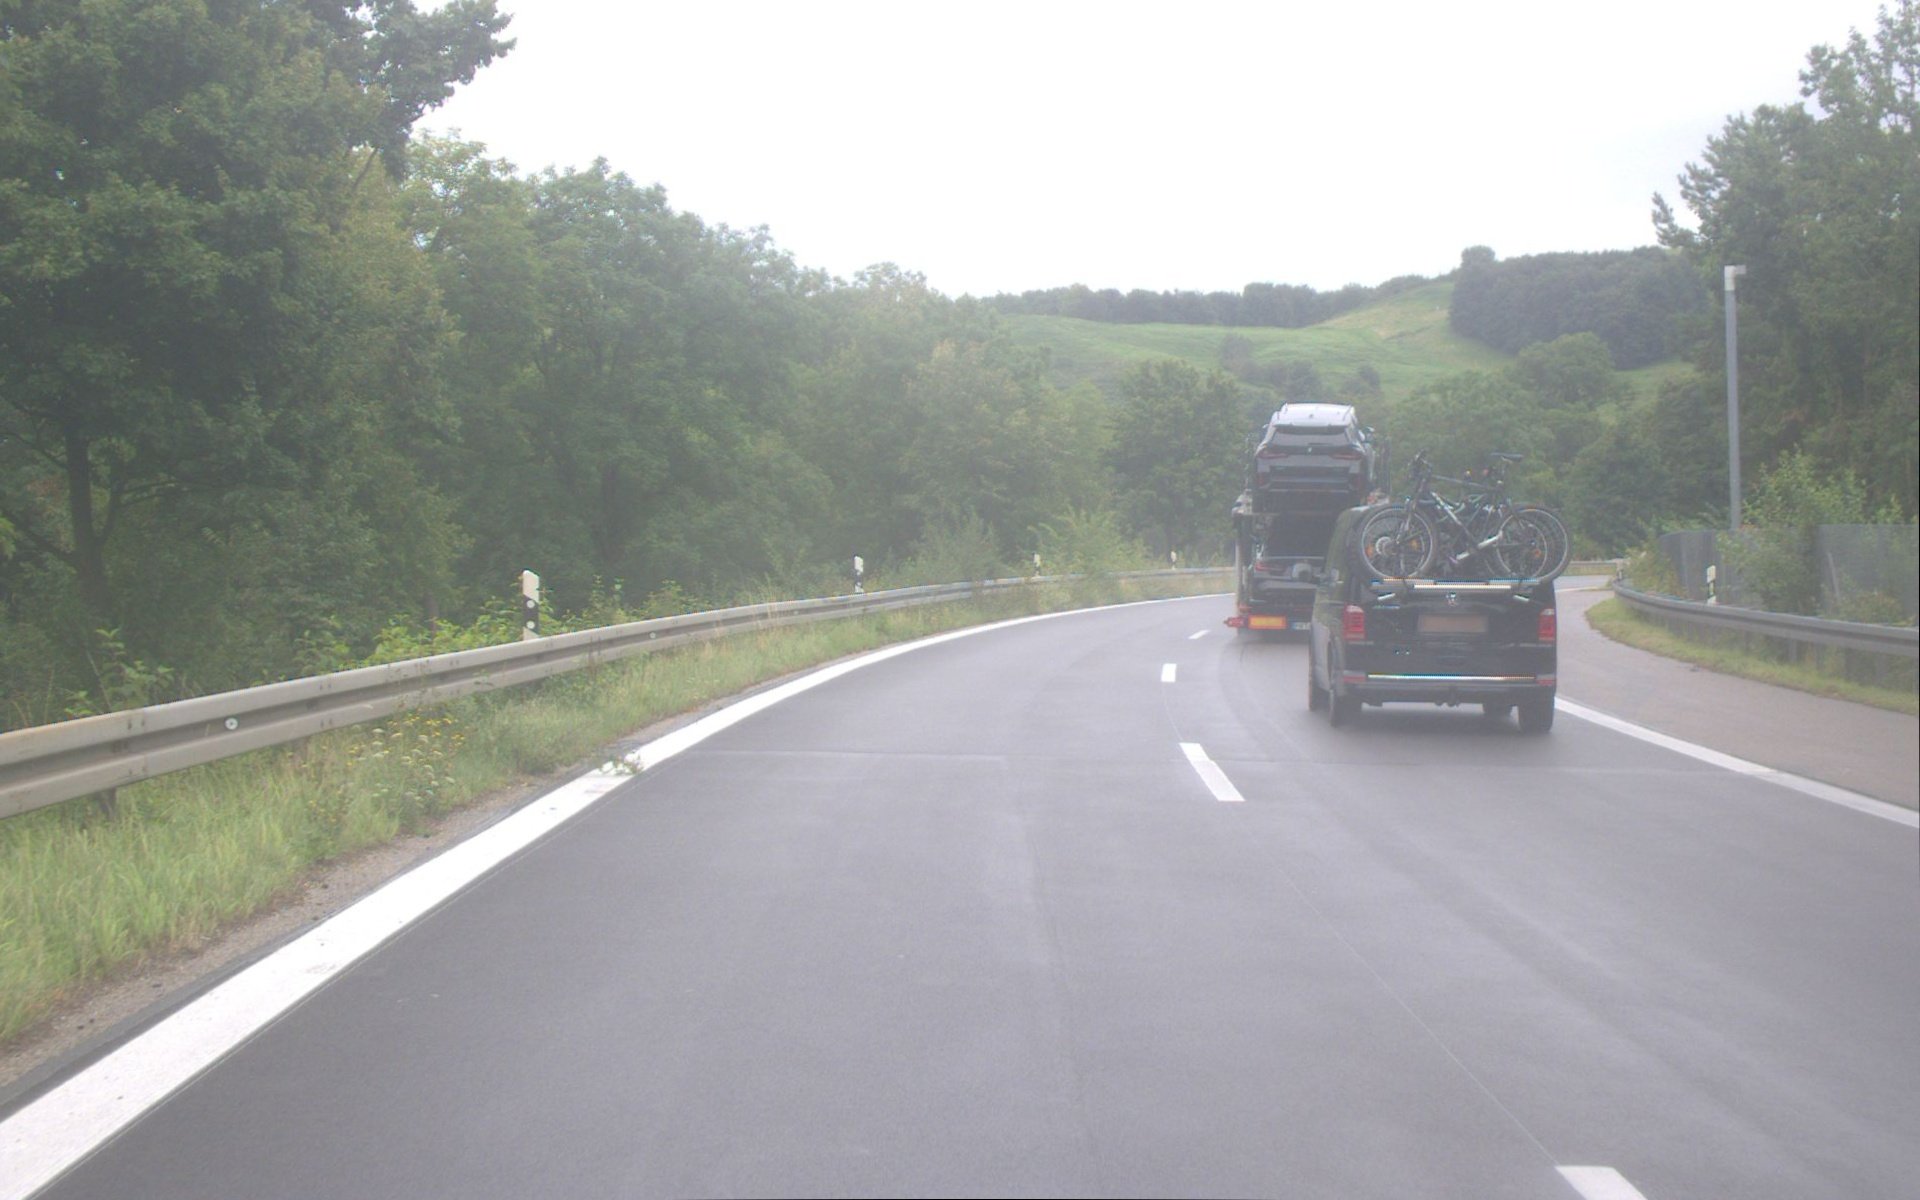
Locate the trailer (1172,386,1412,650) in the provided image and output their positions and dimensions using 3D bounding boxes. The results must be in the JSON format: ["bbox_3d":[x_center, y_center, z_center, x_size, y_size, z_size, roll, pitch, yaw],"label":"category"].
[{"bbox_3d":[5.511,-1.391,59.269,3.449,3.986,12.026,2,1,3],"label":"trailer"}]

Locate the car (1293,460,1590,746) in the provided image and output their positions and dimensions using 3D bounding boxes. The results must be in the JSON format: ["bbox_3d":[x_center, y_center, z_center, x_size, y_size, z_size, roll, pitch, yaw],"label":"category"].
[{"bbox_3d":[4.127,-0.049,30.420,2.110,2.257,5.896,1,1,3],"label":"car"}]

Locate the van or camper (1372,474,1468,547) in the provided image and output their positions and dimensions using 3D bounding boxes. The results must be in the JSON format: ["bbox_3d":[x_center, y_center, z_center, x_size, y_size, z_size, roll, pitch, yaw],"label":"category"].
[{"bbox_3d":[14.666,-2.835,109.444,2.094,2.224,4.426,2,1,20],"label":"van or camper"}]
